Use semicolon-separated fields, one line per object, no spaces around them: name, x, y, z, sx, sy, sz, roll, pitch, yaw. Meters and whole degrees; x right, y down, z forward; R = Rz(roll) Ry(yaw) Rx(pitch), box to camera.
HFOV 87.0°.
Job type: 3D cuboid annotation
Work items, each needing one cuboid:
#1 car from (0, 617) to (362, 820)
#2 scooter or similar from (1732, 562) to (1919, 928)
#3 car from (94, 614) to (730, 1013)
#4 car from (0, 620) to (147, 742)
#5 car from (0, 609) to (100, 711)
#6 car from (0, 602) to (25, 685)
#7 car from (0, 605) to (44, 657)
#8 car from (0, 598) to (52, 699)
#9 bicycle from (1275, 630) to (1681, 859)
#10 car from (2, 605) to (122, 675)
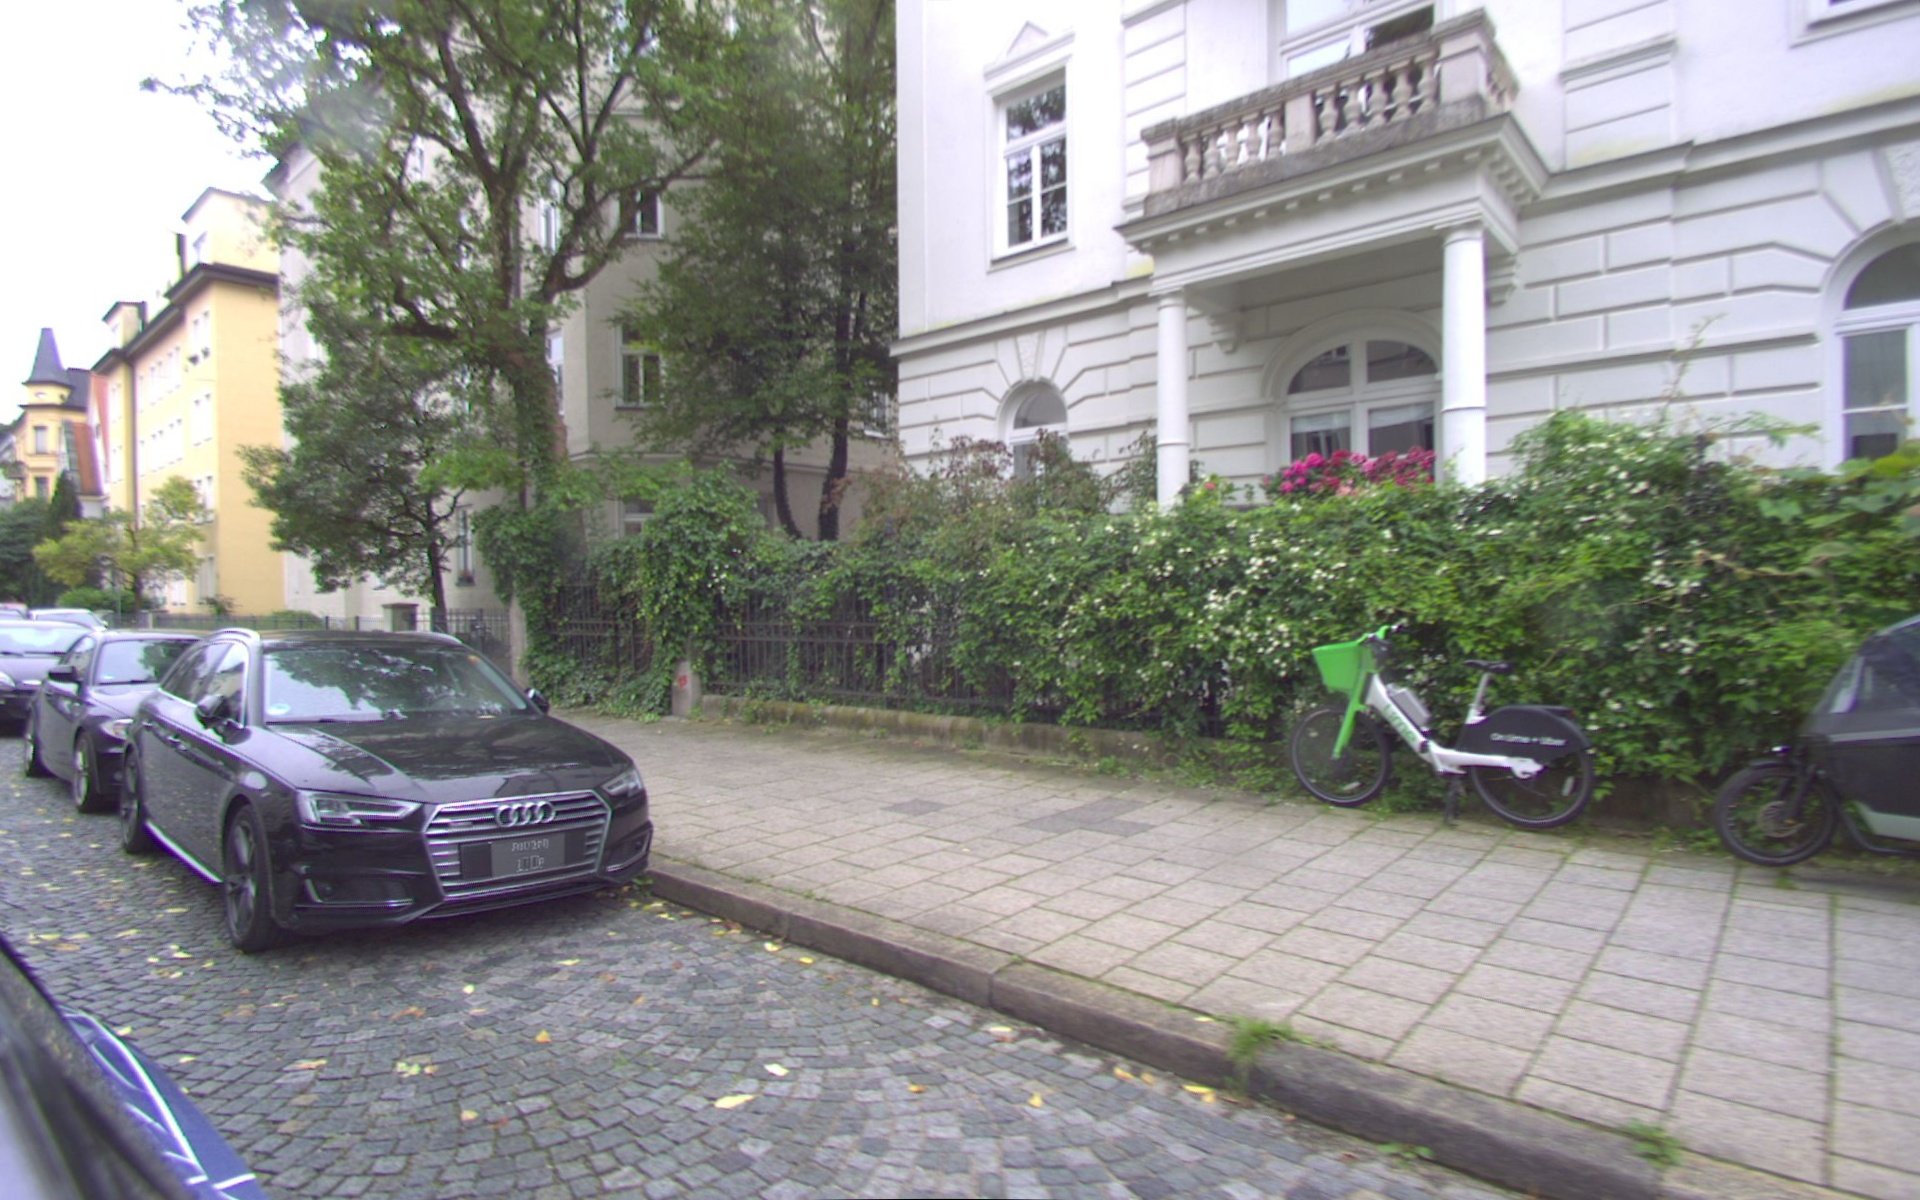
car;-7.321;0.915;9.295;4.494;1.428;1.764;-1;-4;41
scooter or similar;4.683;0.556;3.899;2.655;1.452;0.932;-1;1;41
car;-3.405;0.852;5.844;4.406;1.428;1.866;-2;-4;43
car;-12.784;1.013;13.921;4.166;1.455;1.646;-1;-1;39
car;-16.539;0.977;17.488;5.017;1.573;1.957;-1;-2;43
car;-24.287;1.025;24.518;4.825;1.932;1.853;-1;-3;41
car;-38.160;1.232;40.155;5.327;1.945;1.974;-1;1;41
car;-20.536;0.953;20.882;5.174;1.932;1.972;-1;-4;41
bicycle;2.981;0.756;5.999;2.049;1.131;0.571;-1;0;41
car;-25.839;1.093;29.065;4.655;1.747;1.925;-1;2;41
